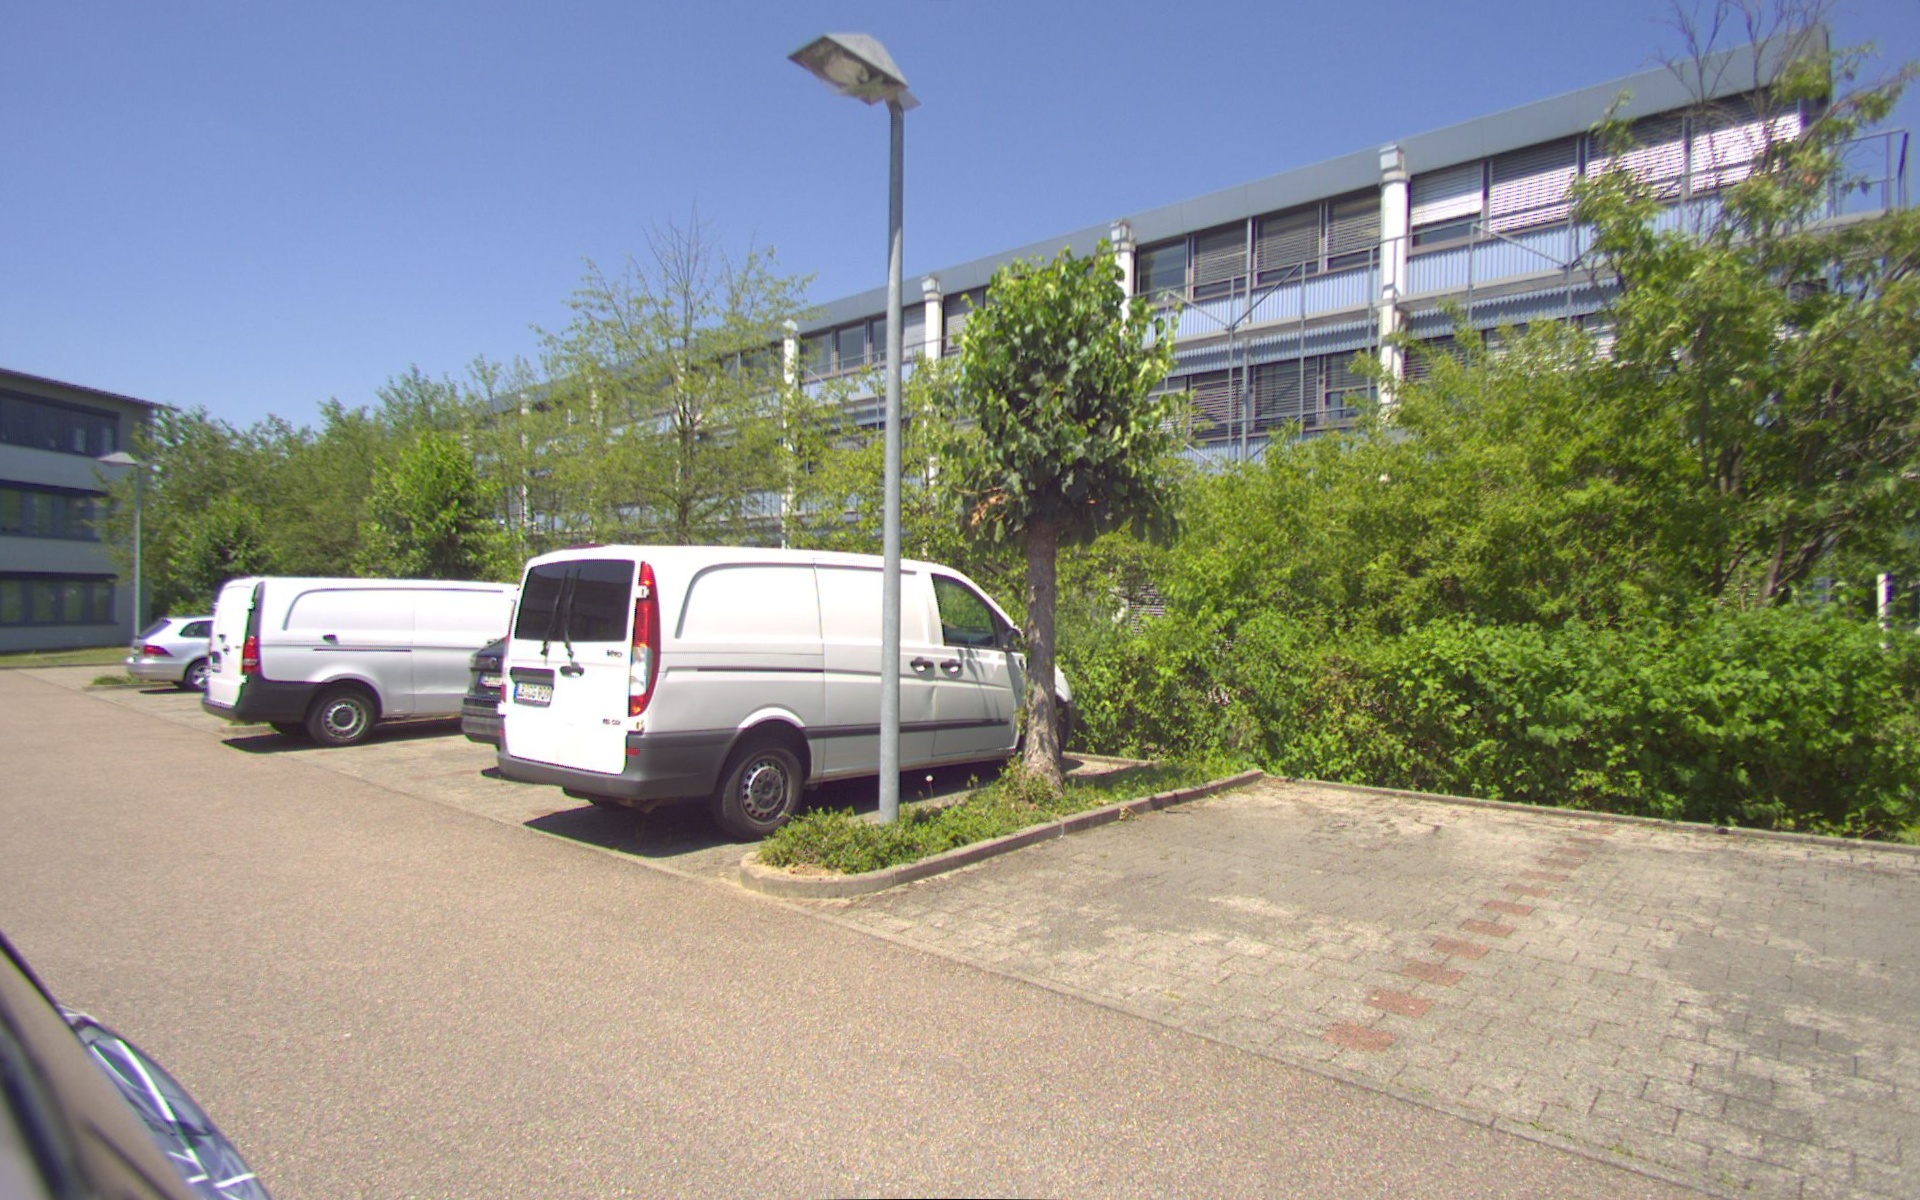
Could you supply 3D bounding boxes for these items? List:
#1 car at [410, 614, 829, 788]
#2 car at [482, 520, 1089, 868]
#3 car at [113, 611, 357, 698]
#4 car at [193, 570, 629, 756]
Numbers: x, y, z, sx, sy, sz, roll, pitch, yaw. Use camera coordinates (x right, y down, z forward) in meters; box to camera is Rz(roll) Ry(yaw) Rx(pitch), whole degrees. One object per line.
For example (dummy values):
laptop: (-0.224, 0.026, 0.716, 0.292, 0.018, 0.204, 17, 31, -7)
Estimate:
car: (-3.275, 0.863, 10.304, 1.575, 1.404, 3.800, -1, -1, 40)
car: (-1.019, 0.539, 7.984, 1.828, 1.920, 4.672, -1, -1, 40)
car: (-14.522, 1.014, 20.420, 1.659, 1.569, 3.715, -1, -1, 40)
car: (-6.627, 0.668, 12.665, 1.828, 1.896, 4.460, -1, -1, 40)
